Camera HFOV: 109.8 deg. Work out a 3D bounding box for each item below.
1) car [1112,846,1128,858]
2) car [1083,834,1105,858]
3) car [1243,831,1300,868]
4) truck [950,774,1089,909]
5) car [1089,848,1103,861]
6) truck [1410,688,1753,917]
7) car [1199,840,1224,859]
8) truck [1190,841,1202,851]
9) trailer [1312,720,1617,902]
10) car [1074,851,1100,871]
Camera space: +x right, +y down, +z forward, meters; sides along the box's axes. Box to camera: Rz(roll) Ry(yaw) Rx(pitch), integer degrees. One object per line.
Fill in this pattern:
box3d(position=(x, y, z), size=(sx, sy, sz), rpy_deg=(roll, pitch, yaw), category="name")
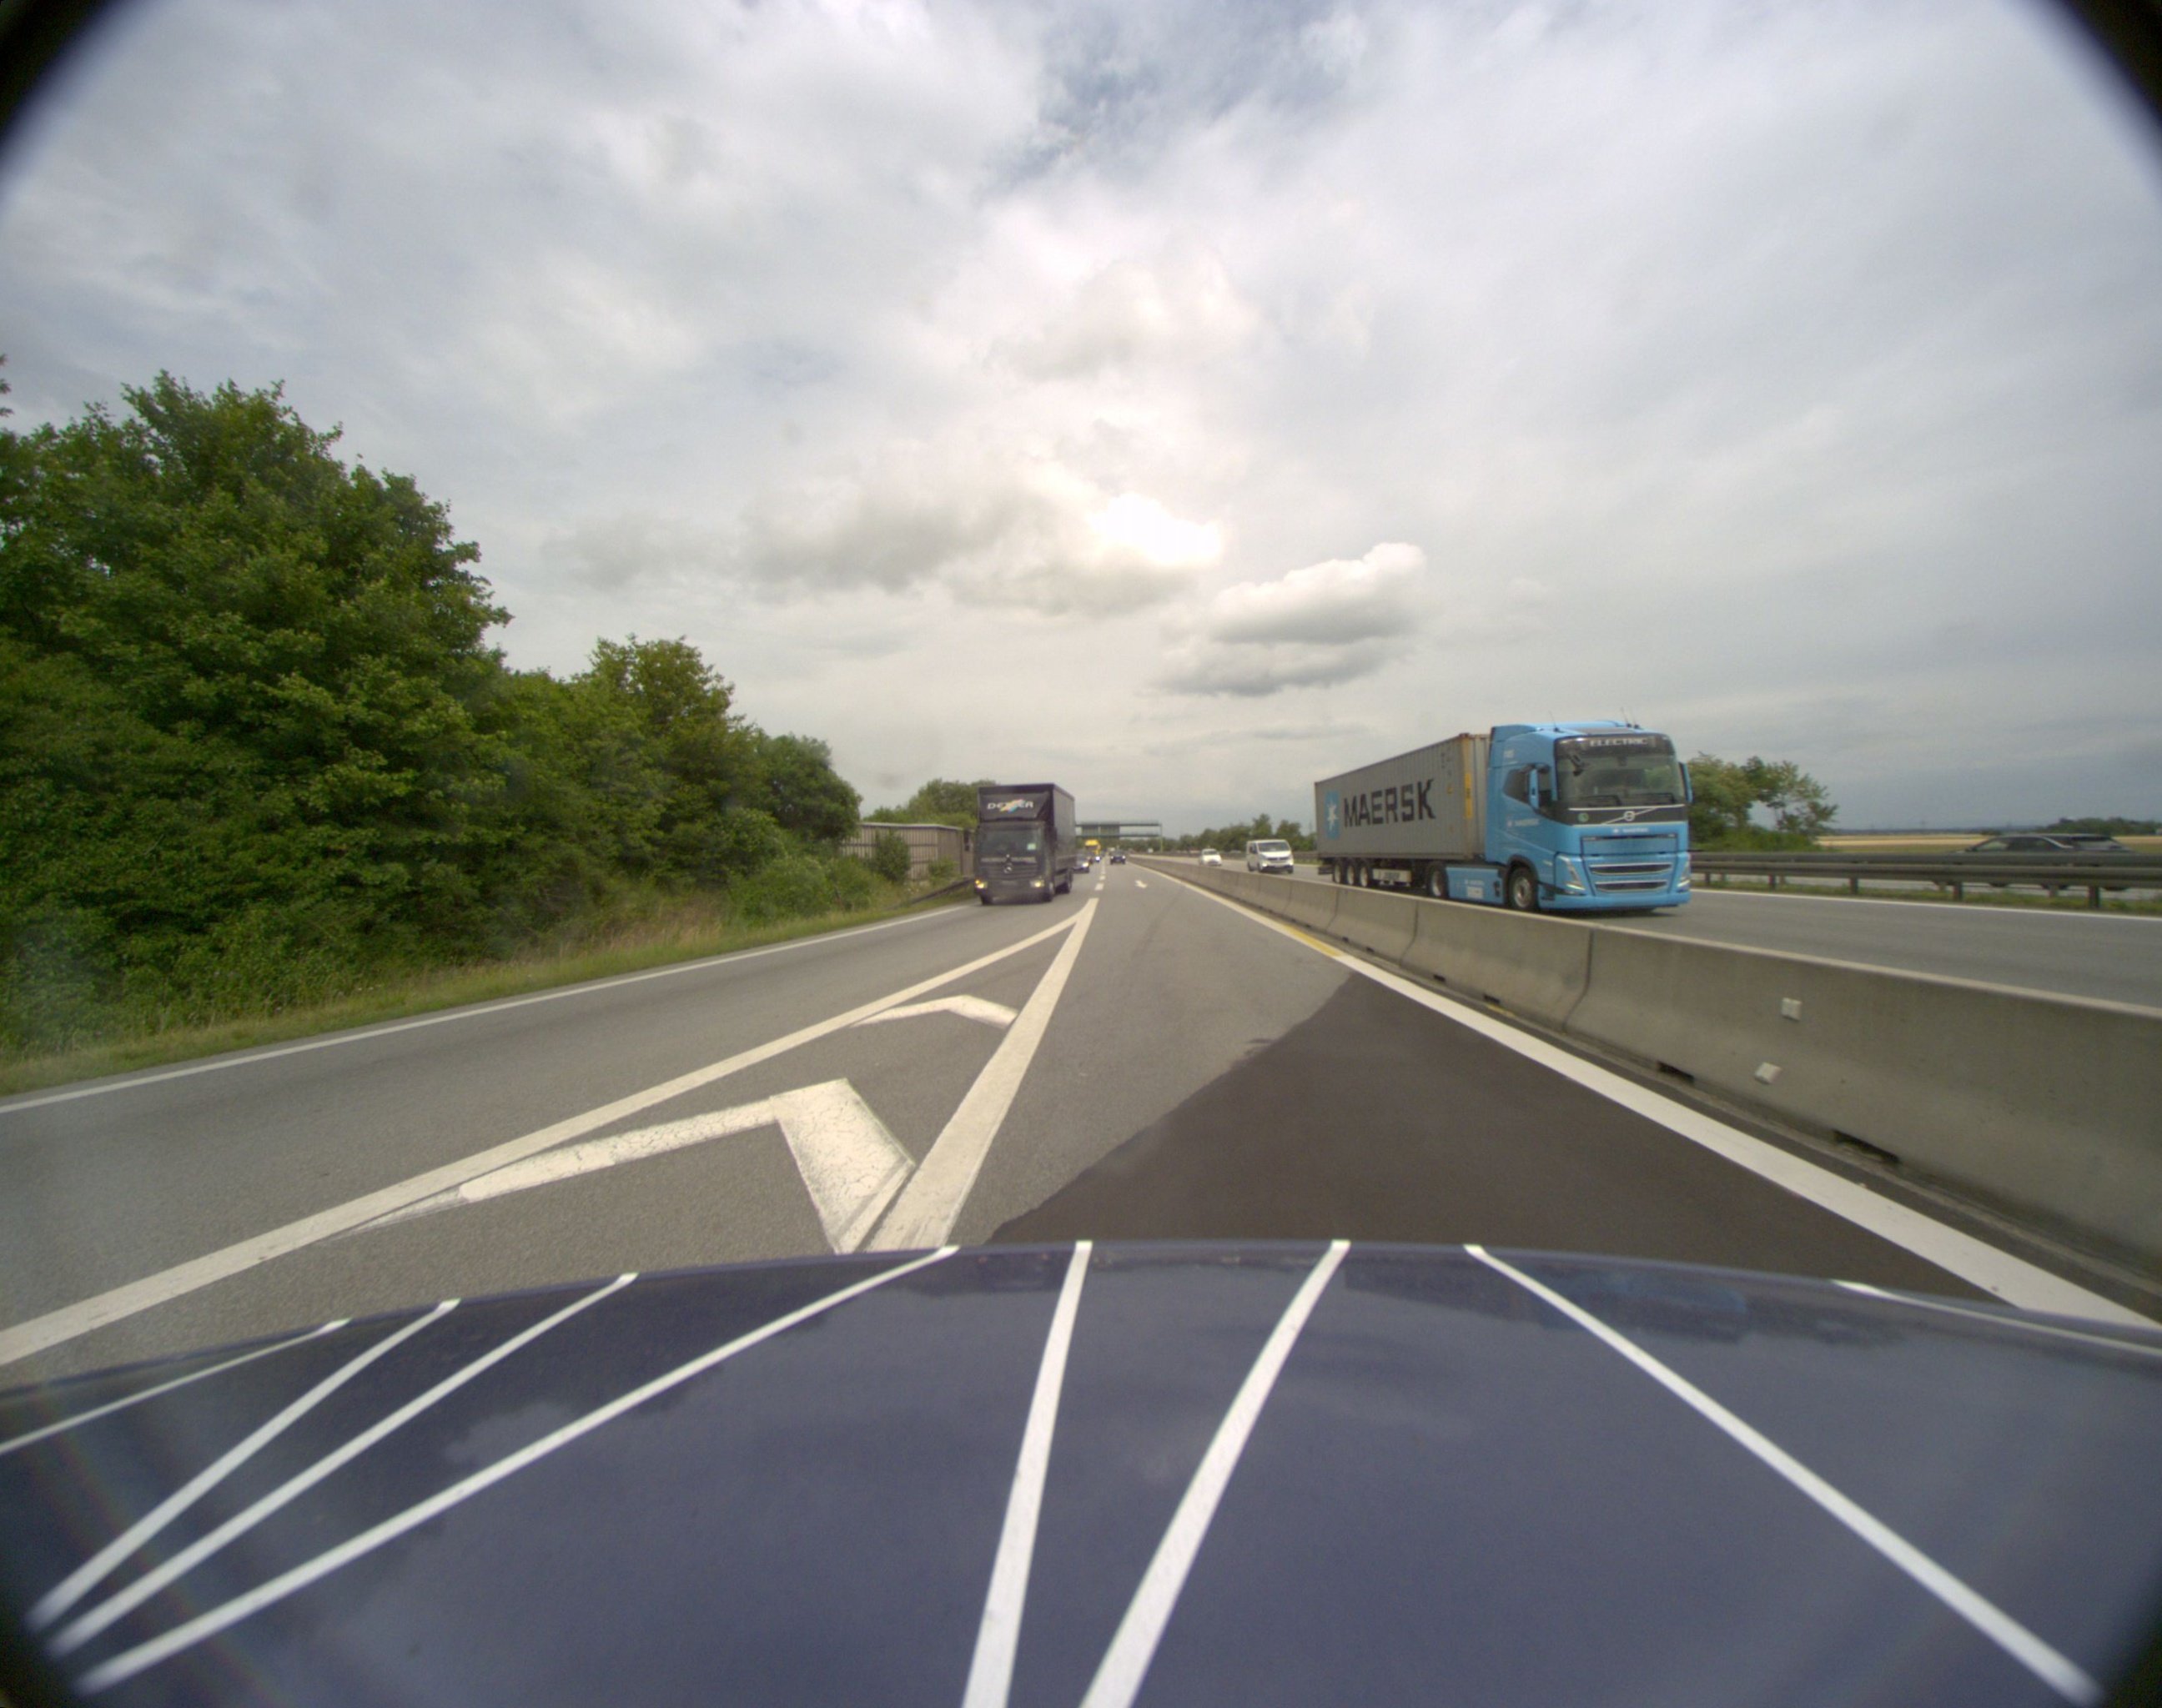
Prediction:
box3d(position=(4.856, -0.255, 94.887), size=(1.865, 1.434, 4.000), rpy_deg=(-2, 1, 1), category="car")
box3d(position=(2.582, -1.576, 148.880), size=(3.394, 4.458, 11.608), rpy_deg=(-2, 1, 4), category="car")
box3d(position=(10.830, -0.272, 43.660), size=(2.004, 1.927, 5.131), rpy_deg=(-3, 1, 1), category="car")
box3d(position=(-1.803, -0.424, 28.014), size=(3.023, 3.932, 10.344), rpy_deg=(-2, 1, 6), category="truck")
box3d(position=(2.343, 0.084, 116.338), size=(1.785, 1.761, 4.001), rpy_deg=(-2, 1, 4), category="car")
box3d(position=(10.248, -0.928, 16.692), size=(3.254, 3.889, 6.610), rpy_deg=(-2, 1, 2), category="truck")
box3d(position=(11.387, -0.403, 66.520), size=(1.684, 1.476, 3.775), rpy_deg=(-2, 1, 3), category="car")
box3d(position=(28.010, -1.977, 185.407), size=(2.282, 2.356, 6.200), rpy_deg=(-2, 1, 2), category="truck")
box3d(position=(10.479, -1.039, 23.195), size=(3.244, 3.902, 12.379), rpy_deg=(-3, 1, 2), category="trailer")
box3d(position=(0.476, 0.499, 58.146), size=(1.865, 1.434, 4.000), rpy_deg=(-2, 1, 1), category="car")
